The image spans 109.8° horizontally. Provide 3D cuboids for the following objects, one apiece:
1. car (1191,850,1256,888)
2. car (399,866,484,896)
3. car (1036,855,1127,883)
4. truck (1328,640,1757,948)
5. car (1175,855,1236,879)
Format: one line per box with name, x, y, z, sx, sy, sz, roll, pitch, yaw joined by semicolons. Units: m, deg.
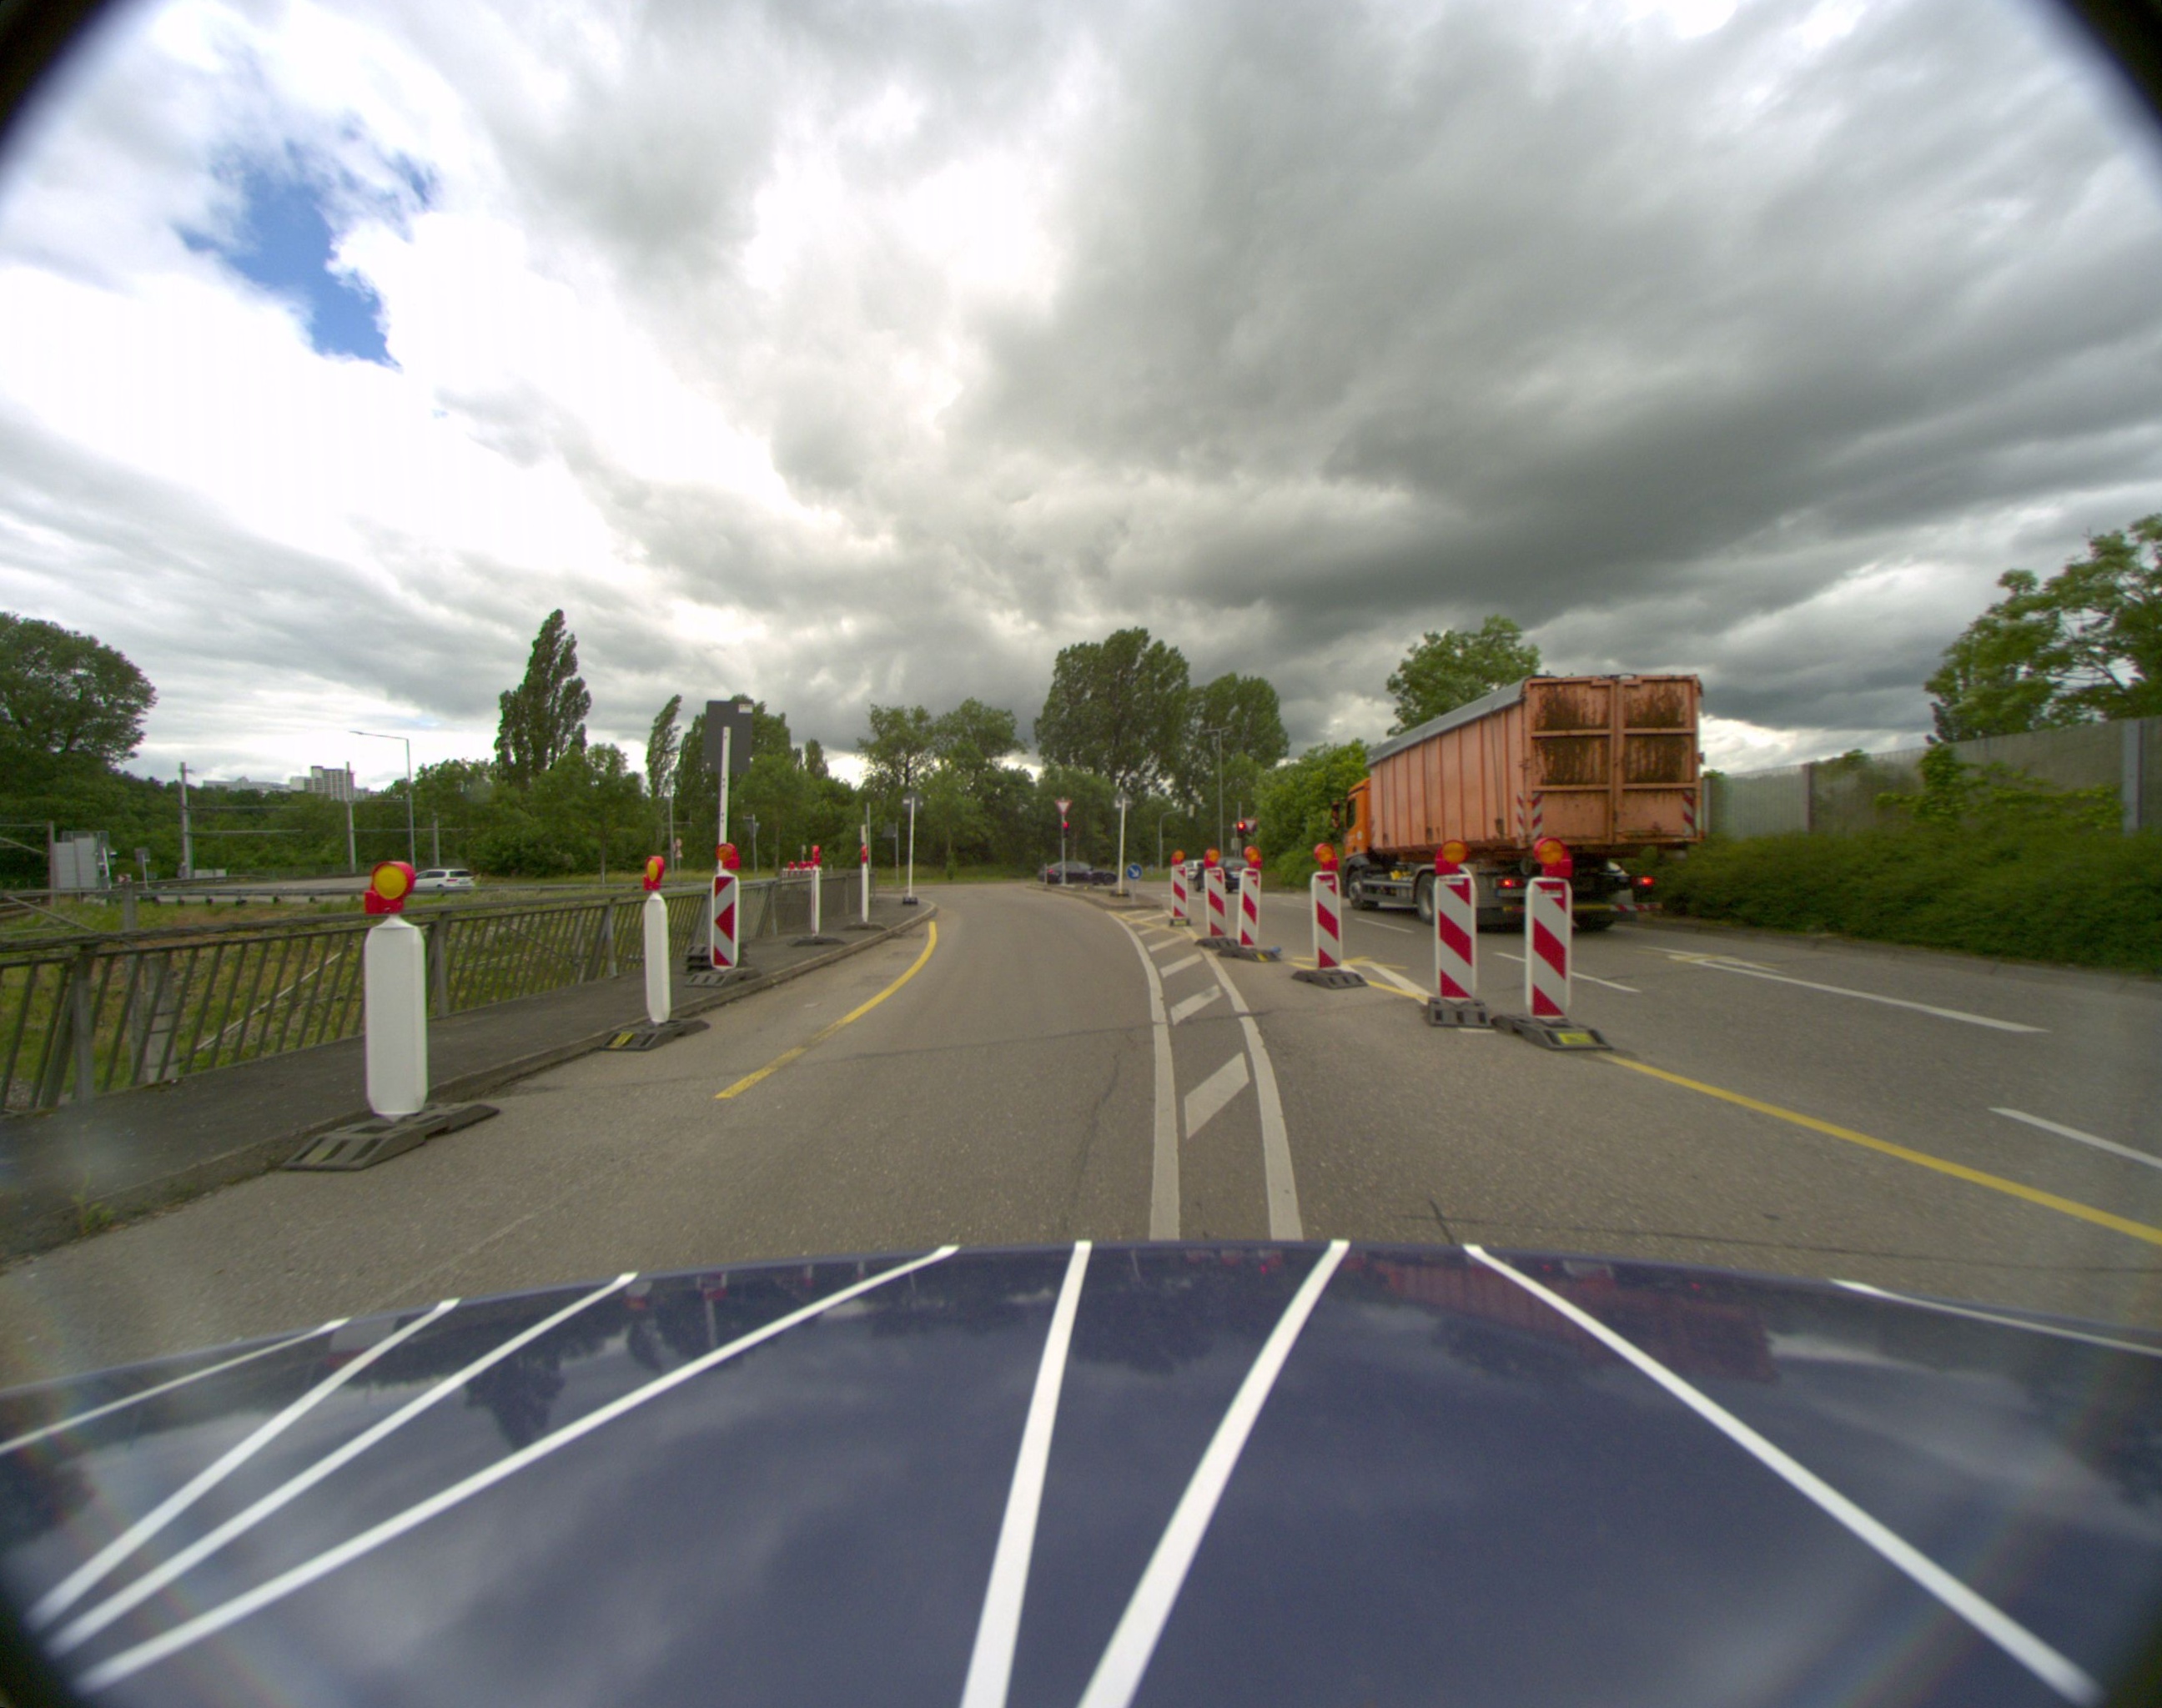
car;6.257;0.666;33.833;1.643;1.542;3.786;1;-1;-9
car;-41.516;1.777;49.345;4.314;1.748;2.087;-2;-3;14
car;0.043;0.870;44.443;4.970;1.467;1.875;-1;-1;-24
truck;7.952;-0.799;15.396;3.117;4.196;9.795;-1;0;3
car;8.073;0.831;49.307;3.634;1.461;1.670;0;-1;-29
